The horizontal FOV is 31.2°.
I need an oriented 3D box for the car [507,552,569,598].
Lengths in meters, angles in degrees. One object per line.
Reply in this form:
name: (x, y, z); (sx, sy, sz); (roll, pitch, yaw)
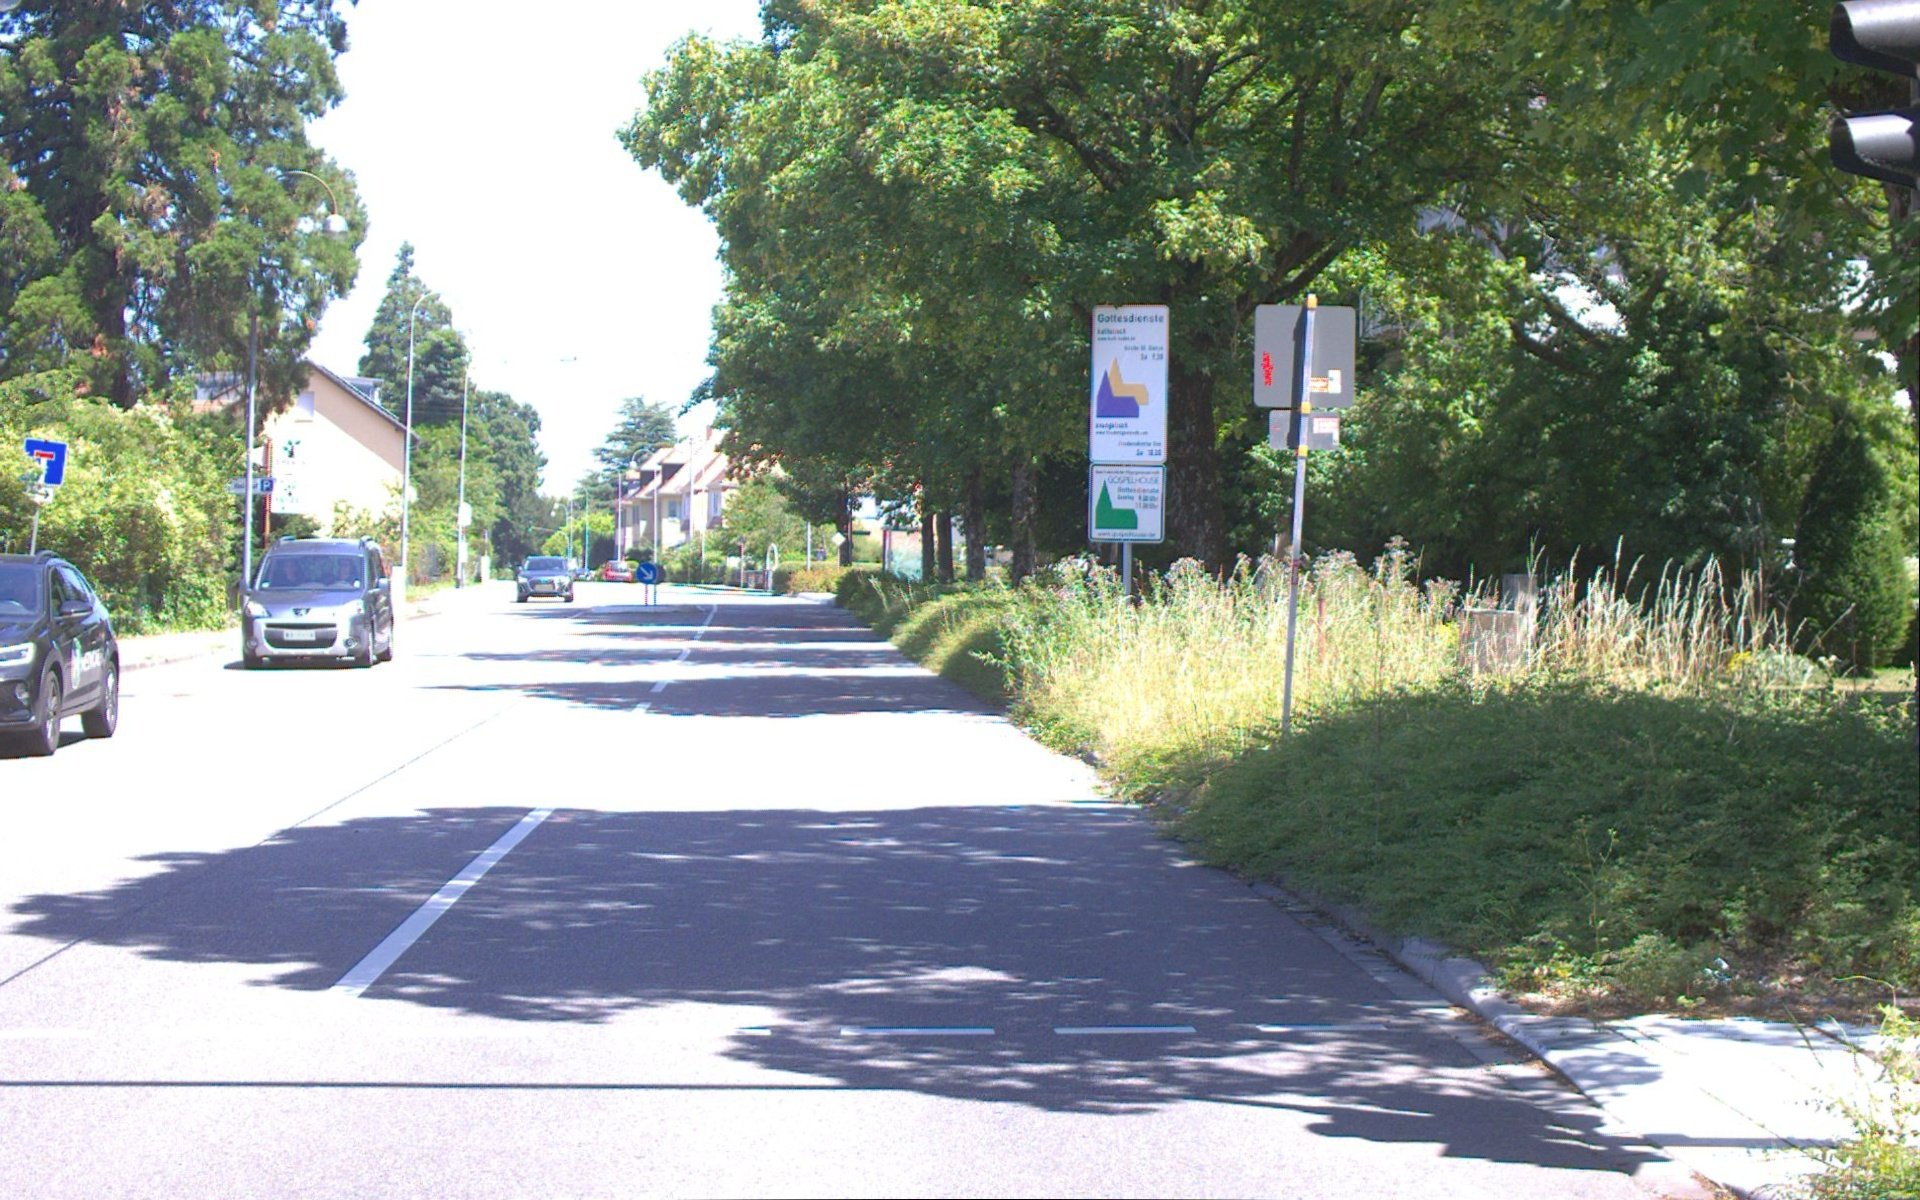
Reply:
car: (-14.306, -0.854, 116.763); (1.793, 1.531, 4.316); (0, 1, -3)

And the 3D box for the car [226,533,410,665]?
car: (-9.004, -0.042, 48.564); (1.811, 1.756, 4.570); (1, 1, -1)

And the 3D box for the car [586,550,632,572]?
car: (-22.080, -2.450, 216.098); (1.943, 1.355, 4.465); (0, 1, -19)

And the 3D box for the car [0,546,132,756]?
car: (-7.661, 0.335, 26.521); (1.869, 1.501, 4.053); (0, 1, -5)
